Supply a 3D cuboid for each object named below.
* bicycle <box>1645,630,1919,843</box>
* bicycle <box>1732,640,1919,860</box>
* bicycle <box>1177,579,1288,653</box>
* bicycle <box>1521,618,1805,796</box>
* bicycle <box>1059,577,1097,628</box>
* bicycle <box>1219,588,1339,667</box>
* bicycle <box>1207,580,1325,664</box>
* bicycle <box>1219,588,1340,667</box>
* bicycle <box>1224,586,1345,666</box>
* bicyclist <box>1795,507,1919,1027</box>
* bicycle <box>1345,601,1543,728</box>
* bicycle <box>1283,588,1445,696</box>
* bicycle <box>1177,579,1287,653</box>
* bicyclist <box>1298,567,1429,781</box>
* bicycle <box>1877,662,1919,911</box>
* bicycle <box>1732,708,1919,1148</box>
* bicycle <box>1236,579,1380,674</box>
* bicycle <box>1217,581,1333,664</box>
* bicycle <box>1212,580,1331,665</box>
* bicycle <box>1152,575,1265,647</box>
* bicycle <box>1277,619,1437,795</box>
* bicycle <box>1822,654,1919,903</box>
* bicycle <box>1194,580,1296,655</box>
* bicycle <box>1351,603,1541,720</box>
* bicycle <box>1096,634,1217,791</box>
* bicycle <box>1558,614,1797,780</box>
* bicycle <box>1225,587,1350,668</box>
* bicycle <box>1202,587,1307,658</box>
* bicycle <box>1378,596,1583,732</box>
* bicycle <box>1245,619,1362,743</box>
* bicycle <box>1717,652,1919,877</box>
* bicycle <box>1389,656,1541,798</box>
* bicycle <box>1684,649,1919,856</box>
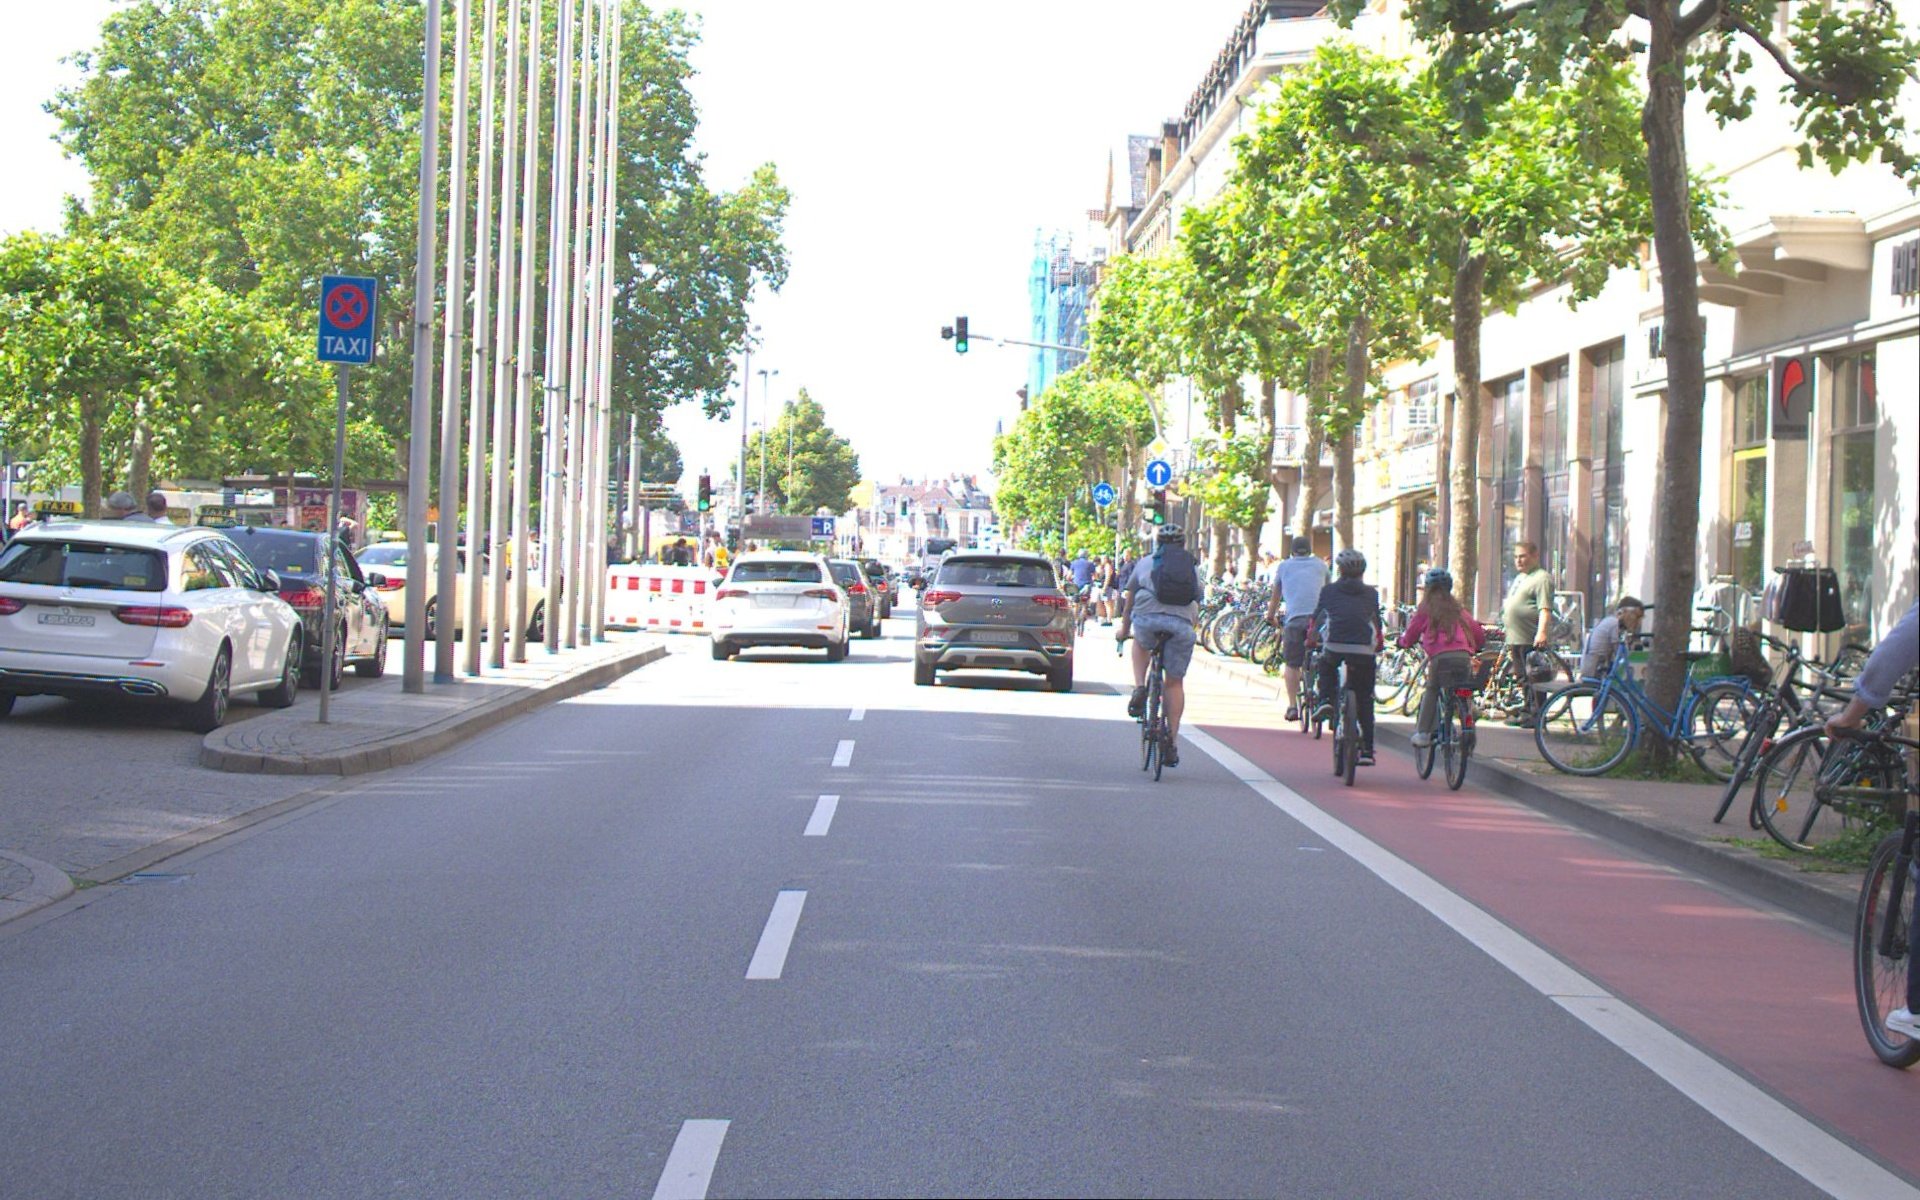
[{"bbox_3d":[5.014,0.803,20.014,1.839,1.123,0.632,4,0,-11],"label":"bicycle"},{"bbox_3d":[5.267,0.842,18.775,1.839,1.123,0.766,4,-1,-13],"label":"bicycle"},{"bbox_3d":[4.679,0.274,59.116,1.844,1.197,0.545,2,0,2],"label":"bicycle"},{"bbox_3d":[5.001,0.757,24.469,1.839,1.123,0.497,4,2,-8],"label":"bicycle"},{"bbox_3d":[2.402,0.040,70.127,0.647,0.994,2.031,2,1,-1],"label":"bicycle"},{"bbox_3d":[4.786,0.413,51.589,1.728,1.105,0.477,2,0,2],"label":"bicycle"},{"bbox_3d":[4.685,0.335,52.675,1.728,1.213,0.477,2,0,2],"label":"bicycle"},{"bbox_3d":[4.756,0.400,51.170,1.728,1.105,0.402,2,0,2],"label":"bicycle"},{"bbox_3d":[4.786,0.376,50.756,1.728,1.105,0.402,2,0,2],"label":"bicycle"},{"bbox_3d":[2.964,0.475,10.017,0.698,1.441,0.961,3,0,-4],"label":"bicyclist"},{"bbox_3d":[4.726,0.620,33.560,1.841,1.123,0.497,3,0,11],"label":"bicycle"},{"bbox_3d":[4.845,0.501,41.323,1.840,1.182,0.670,3,0,5],"label":"bicycle"},{"bbox_3d":[4.709,0.276,59.622,1.844,1.197,0.608,2,0,2],"label":"bicycle"},{"bbox_3d":[2.818,0.507,24.084,0.698,1.436,0.791,3,0,-4],"label":"bicyclist"},{"bbox_3d":[5.103,0.865,15.418,1.843,1.123,0.447,1,-1,28],"label":"bicycle"},{"bbox_3d":[2.940,0.939,10.062,0.698,1.123,2.082,3,0,-4],"label":"bicycle"},{"bbox_3d":[4.896,0.366,48.422,1.931,1.244,0.736,2,0,2],"label":"bicycle"},{"bbox_3d":[4.865,0.341,53.166,1.728,1.213,0.477,2,0,2],"label":"bicycle"},{"bbox_3d":[4.701,0.332,51.950,1.728,1.213,0.477,2,0,2],"label":"bicycle"},{"bbox_3d":[4.636,0.207,64.035,1.932,1.253,0.705,2,0,-20],"label":"bicycle"},{"bbox_3d":[2.788,0.730,24.353,0.698,1.123,2.082,3,0,-4],"label":"bicycle"},{"bbox_3d":[4.973,0.840,16.446,1.840,1.123,0.594,2,-1,-36],"label":"bicycle"},{"bbox_3d":[4.801,0.290,57.897,1.649,1.197,0.474,2,0,2],"label":"bicycle"},{"bbox_3d":[4.962,0.624,35.216,1.840,1.093,0.794,2,0,5],"label":"bicycle"},{"bbox_3d":[1.333,0.750,23.633,0.630,0.976,2.089,2,0,-1],"label":"bicycle"},{"bbox_3d":[5.461,0.740,26.136,1.774,1.193,0.578,2,0,-28],"label":"bicycle"},{"bbox_3d":[4.744,0.392,49.903,1.728,1.105,0.736,2,0,2],"label":"bicycle"},{"bbox_3d":[4.821,0.361,56.375,1.649,1.091,0.607,2,0,2],"label":"bicycle"},{"bbox_3d":[4.905,0.596,32.494,1.840,1.193,0.673,3,0,7],"label":"bicycle"},{"bbox_3d":[3.045,0.700,30.658,0.774,1.002,2.329,1,1,0],"label":"bicycle"},{"bbox_3d":[4.932,0.866,17.801,1.840,1.089,0.564,3,0,0],"label":"bicycle"},{"bbox_3d":[3.521,0.869,24.113,0.600,0.923,2.087,2,-1,-4],"label":"bicycle"},{"bbox_3d":[5.118,0.873,19.516,1.839,1.089,0.565,3,0,-11],"label":"bicycle"}]
